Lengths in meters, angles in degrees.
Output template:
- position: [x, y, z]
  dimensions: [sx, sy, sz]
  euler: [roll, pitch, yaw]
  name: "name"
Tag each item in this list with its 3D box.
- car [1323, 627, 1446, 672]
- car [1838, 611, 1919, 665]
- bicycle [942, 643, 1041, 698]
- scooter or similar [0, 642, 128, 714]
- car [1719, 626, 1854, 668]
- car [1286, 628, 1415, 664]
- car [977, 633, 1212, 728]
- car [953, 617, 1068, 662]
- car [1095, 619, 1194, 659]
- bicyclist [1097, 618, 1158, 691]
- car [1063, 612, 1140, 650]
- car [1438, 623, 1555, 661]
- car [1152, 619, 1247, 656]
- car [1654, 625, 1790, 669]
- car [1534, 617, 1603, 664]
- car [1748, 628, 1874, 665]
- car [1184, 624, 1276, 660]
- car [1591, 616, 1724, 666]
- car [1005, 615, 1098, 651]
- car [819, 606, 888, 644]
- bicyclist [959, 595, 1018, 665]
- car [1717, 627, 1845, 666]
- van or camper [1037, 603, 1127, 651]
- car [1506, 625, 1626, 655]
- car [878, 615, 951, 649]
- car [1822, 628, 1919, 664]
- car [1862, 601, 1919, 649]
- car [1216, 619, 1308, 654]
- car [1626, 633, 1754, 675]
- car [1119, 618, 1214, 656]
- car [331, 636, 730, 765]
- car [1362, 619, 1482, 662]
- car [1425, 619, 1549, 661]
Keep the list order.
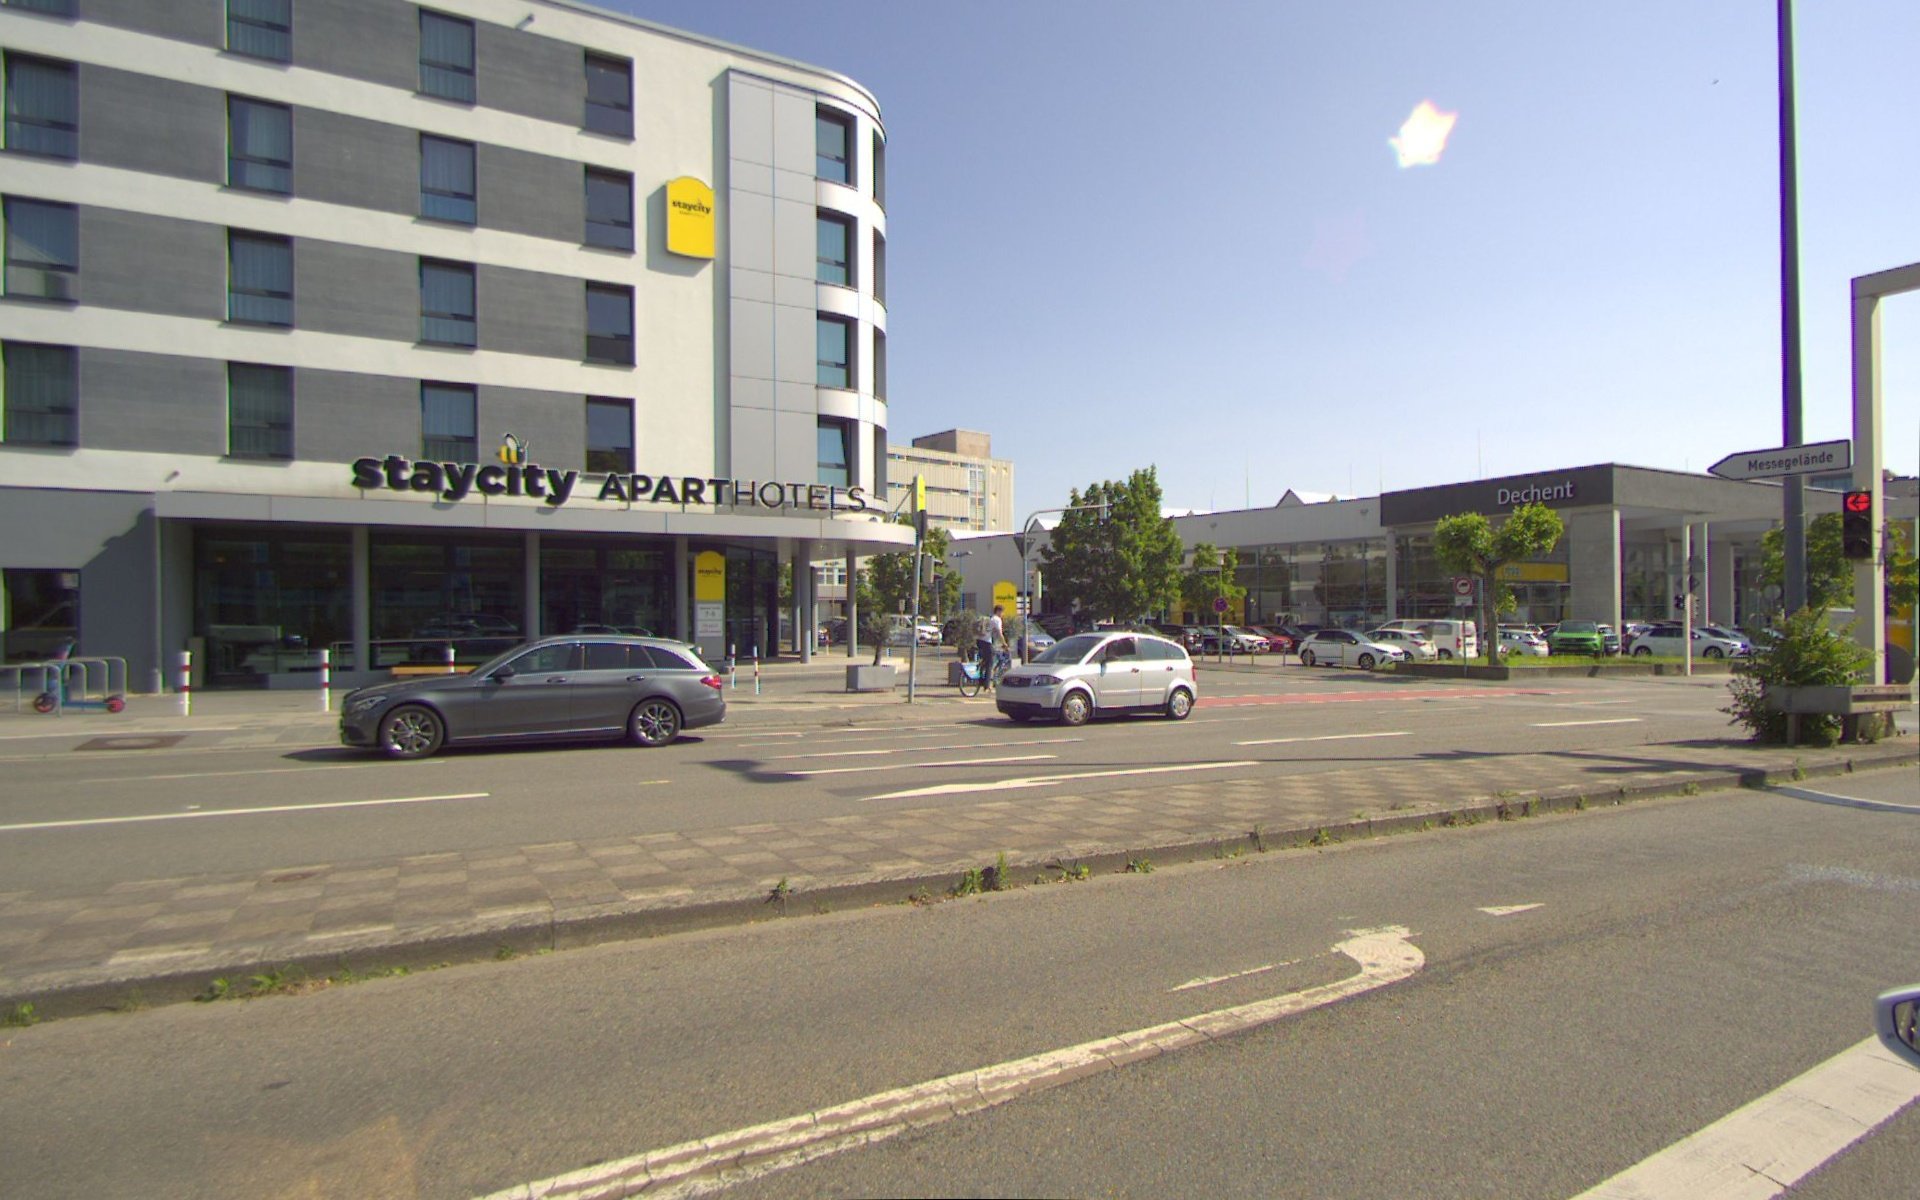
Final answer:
- position: [17.409, 1.994, 41.390]
  dimensions: [1.980, 1.719, 4.328]
  euler: [1, -2, -35]
  name: "car"
- position: [49.074, 1.958, 52.378]
  dimensions: [2.096, 2.720, 4.490]
  euler: [1, -1, -21]
  name: "car"
- position: [0.697, 1.496, 21.683]
  dimensions: [2.142, 1.131, 0.762]
  euler: [1, -2, -37]
  name: "bicycle"
- position: [-14.707, 1.275, 16.526]
  dimensions: [1.499, 1.127, 0.349]
  euler: [2, -1, -28]
  name: "scooter or similar"
- position: [37.425, 2.094, 45.579]
  dimensions: [1.978, 1.719, 4.333]
  euler: [2, -1, -32]
  name: "car"
- position: [15.102, 1.751, 39.054]
  dimensions: [1.980, 1.317, 4.328]
  euler: [1, -2, -35]
  name: "car"
- position: [2.379, 1.312, 17.430]
  dimensions: [3.874, 1.457, 1.761]
  euler: [1, -2, -34]
  name: "car"
- position: [2.000, 1.573, 41.148]
  dimensions: [1.984, 1.737, 4.773]
  euler: [2, -2, -40]
  name: "car"
- position: [8.381, 1.746, 45.917]
  dimensions: [1.980, 1.719, 4.328]
  euler: [1, -2, -35]
  name: "car"
- position: [3.484, 1.127, 20.942]
  dimensions: [1.012, 1.479, 0.766]
  euler: [1, -1, -22]
  name: "bicyclist"
- position: [7.743, 1.698, 55.288]
  dimensions: [1.983, 2.040, 3.956]
  euler: [1, -2, -38]
  name: "car"
- position: [24.488, 1.883, 45.931]
  dimensions: [1.982, 1.612, 4.325]
  euler: [1, -2, -37]
  name: "car"
- position: [11.754, 1.815, 49.508]
  dimensions: [1.980, 1.719, 4.328]
  euler: [1, -2, -35]
  name: "car"
- position: [32.838, 1.968, 43.392]
  dimensions: [1.978, 1.789, 4.274]
  euler: [1, -2, -32]
  name: "car"
- position: [23.980, 1.618, 39.703]
  dimensions: [1.870, 1.756, 3.293]
  euler: [0, -3, 23]
  name: "car"
- position: [41.622, 2.227, 49.203]
  dimensions: [1.978, 1.719, 4.333]
  euler: [1, -2, -32]
  name: "car"
- position: [13.783, 2.126, 51.423]
  dimensions: [1.980, 1.719, 4.328]
  euler: [1, -2, -35]
  name: "car"
- position: [27.338, 1.586, 39.479]
  dimensions: [1.978, 1.862, 3.849]
  euler: [1, -2, -32]
  name: "car"
- position: [4.551, 1.625, 50.230]
  dimensions: [4.304, 1.719, 1.991]
  euler: [-1, -2, 39]
  name: "car"
- position: [-6.773, 1.550, 63.430]
  dimensions: [1.985, 2.158, 4.565]
  euler: [2, 0, -42]
  name: "car"
- position: [0.623, 0.646, 21.664]
  dimensions: [1.017, 1.479, 0.762]
  euler: [1, -1, -37]
  name: "bicyclist"
- position: [38.826, 2.148, 47.597]
  dimensions: [1.978, 1.719, 4.333]
  euler: [1, -2, -32]
  name: "car"
- position: [6.390, 1.420, 52.984]
  dimensions: [1.983, 2.432, 4.678]
  euler: [1, -2, -38]
  name: "van or camper"
- position: [27.853, 1.848, 46.251]
  dimensions: [1.982, 1.284, 4.325]
  euler: [4, -4, -37]
  name: "car"
- position: [-2.732, 1.849, 59.342]
  dimensions: [1.971, 1.815, 4.376]
  euler: [2, 0, -42]
  name: "car"
- position: [47.004, 2.312, 51.111]
  dimensions: [1.975, 1.719, 4.341]
  euler: [1, -2, -27]
  name: "car"
- position: [53.224, 1.376, 55.740]
  dimensions: [1.973, 2.635, 4.345]
  euler: [1, -1, -24]
  name: "car"
- position: [15.799, 1.888, 52.678]
  dimensions: [1.982, 1.719, 4.324]
  euler: [1, -2, -37]
  name: "car"
- position: [30.545, 2.217, 42.107]
  dimensions: [1.981, 1.620, 3.959]
  euler: [1, -2, -36]
  name: "car"
- position: [9.873, 1.736, 48.299]
  dimensions: [1.980, 1.719, 4.328]
  euler: [1, -2, -35]
  name: "car"
- position: [-5.532, 1.202, 13.242]
  dimensions: [4.530, 1.446, 1.947]
  euler: [1, -2, -29]
  name: "car"
- position: [19.845, 1.710, 43.290]
  dimensions: [1.982, 1.719, 4.323]
  euler: [1, -2, -38]
  name: "car"
- position: [22.716, 1.672, 43.429]
  dimensions: [1.982, 1.719, 4.323]
  euler: [1, -2, -38]
  name: "car"
